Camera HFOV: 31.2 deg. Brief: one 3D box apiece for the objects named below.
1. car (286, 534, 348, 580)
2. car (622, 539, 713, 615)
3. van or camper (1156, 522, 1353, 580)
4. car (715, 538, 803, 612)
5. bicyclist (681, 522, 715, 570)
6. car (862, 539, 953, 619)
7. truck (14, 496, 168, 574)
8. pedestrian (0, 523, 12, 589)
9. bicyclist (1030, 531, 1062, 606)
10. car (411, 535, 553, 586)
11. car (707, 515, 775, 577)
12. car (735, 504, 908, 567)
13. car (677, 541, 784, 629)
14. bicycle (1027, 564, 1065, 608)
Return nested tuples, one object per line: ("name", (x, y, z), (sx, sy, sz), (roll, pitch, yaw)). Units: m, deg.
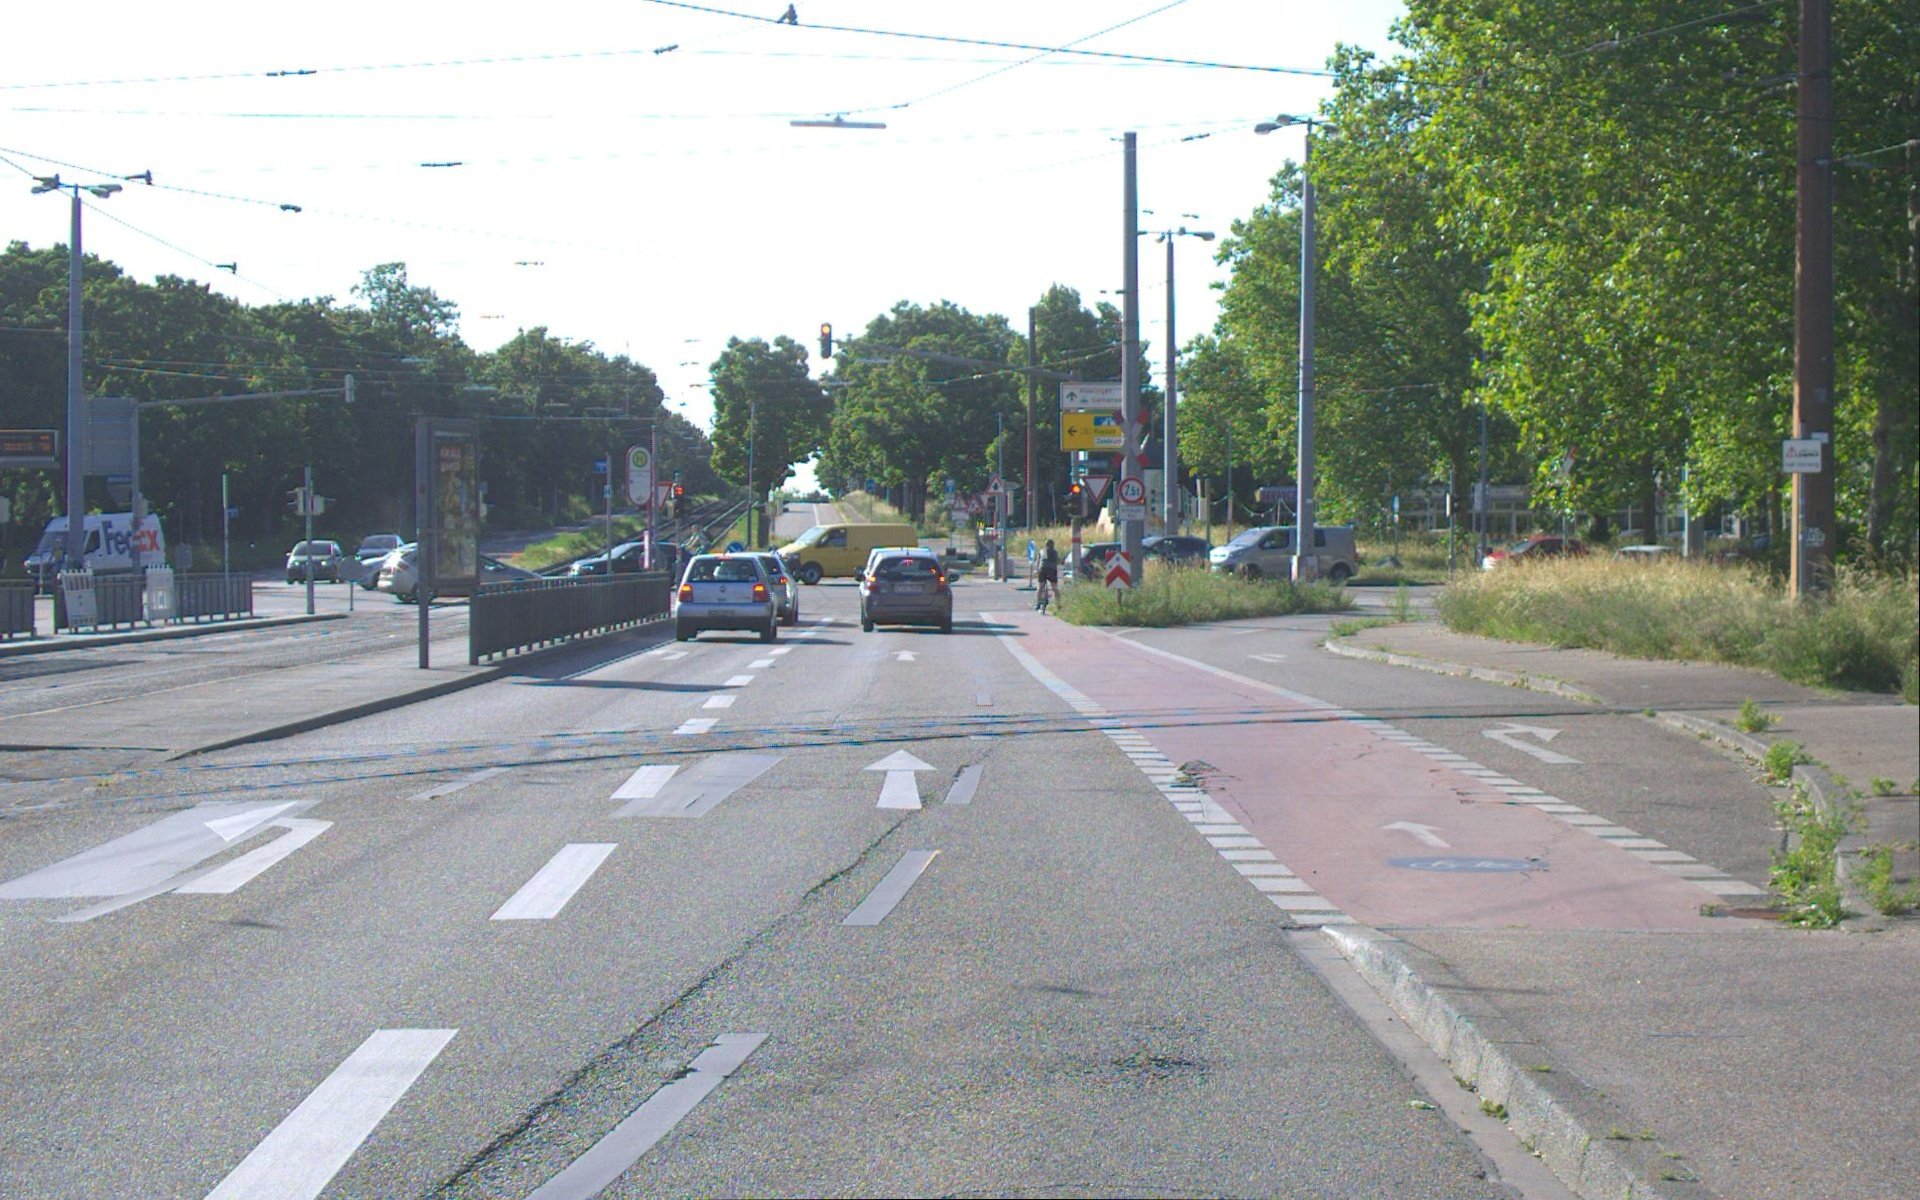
("car", (-22.153, -1.482, 118.537), (1.832, 1.543, 4.001), (0, 1, -7))
("car", (-6.119, -0.501, 72.240), (1.611, 1.557, 4.288), (0, 1, -1))
("van or camper", (9.302, -1.565, 108.863), (5.967, 1.822, 2.000), (0, 1, -4))
("car", (-4.123, -0.519, 71.055), (1.619, 1.452, 4.085), (1, 0, -1))
("bicyclist", (-9.000, -1.869, 118.042), (1.006, 1.642, 0.817), (0, 1, -18))
("car", (-1.018, -0.416, 65.356), (1.668, 1.457, 3.586), (0, 1, -1))
("truck", (-29.299, -2.175, 116.211), (1.995, 2.556, 6.818), (0, 1, 15))
("pedestrian", (-29.183, -1.331, 104.269), (0.748, 2.007, 0.792), (-1, 1, -12))
("bicyclist", (1.993, -0.735, 79.437), (0.666, 1.710, 0.948), (1, 0, -1))
("car", (-14.730, -1.224, 105.938), (3.986, 1.468, 1.752), (1, 0, -22))
("car", (-7.383, -1.812, 116.376), (1.993, 2.007, 4.491), (1, 0, 0))
("car", (-4.459, -2.071, 110.926), (5.154, 1.873, 2.000), (1, 0, -27))
("car", (-3.835, -0.257, 57.833), (1.619, 1.413, 3.351), (-1, 0, -1))
("bicycle", (1.982, -0.331, 79.521), (0.722, 0.985, 2.876), (1, 0, -1))
